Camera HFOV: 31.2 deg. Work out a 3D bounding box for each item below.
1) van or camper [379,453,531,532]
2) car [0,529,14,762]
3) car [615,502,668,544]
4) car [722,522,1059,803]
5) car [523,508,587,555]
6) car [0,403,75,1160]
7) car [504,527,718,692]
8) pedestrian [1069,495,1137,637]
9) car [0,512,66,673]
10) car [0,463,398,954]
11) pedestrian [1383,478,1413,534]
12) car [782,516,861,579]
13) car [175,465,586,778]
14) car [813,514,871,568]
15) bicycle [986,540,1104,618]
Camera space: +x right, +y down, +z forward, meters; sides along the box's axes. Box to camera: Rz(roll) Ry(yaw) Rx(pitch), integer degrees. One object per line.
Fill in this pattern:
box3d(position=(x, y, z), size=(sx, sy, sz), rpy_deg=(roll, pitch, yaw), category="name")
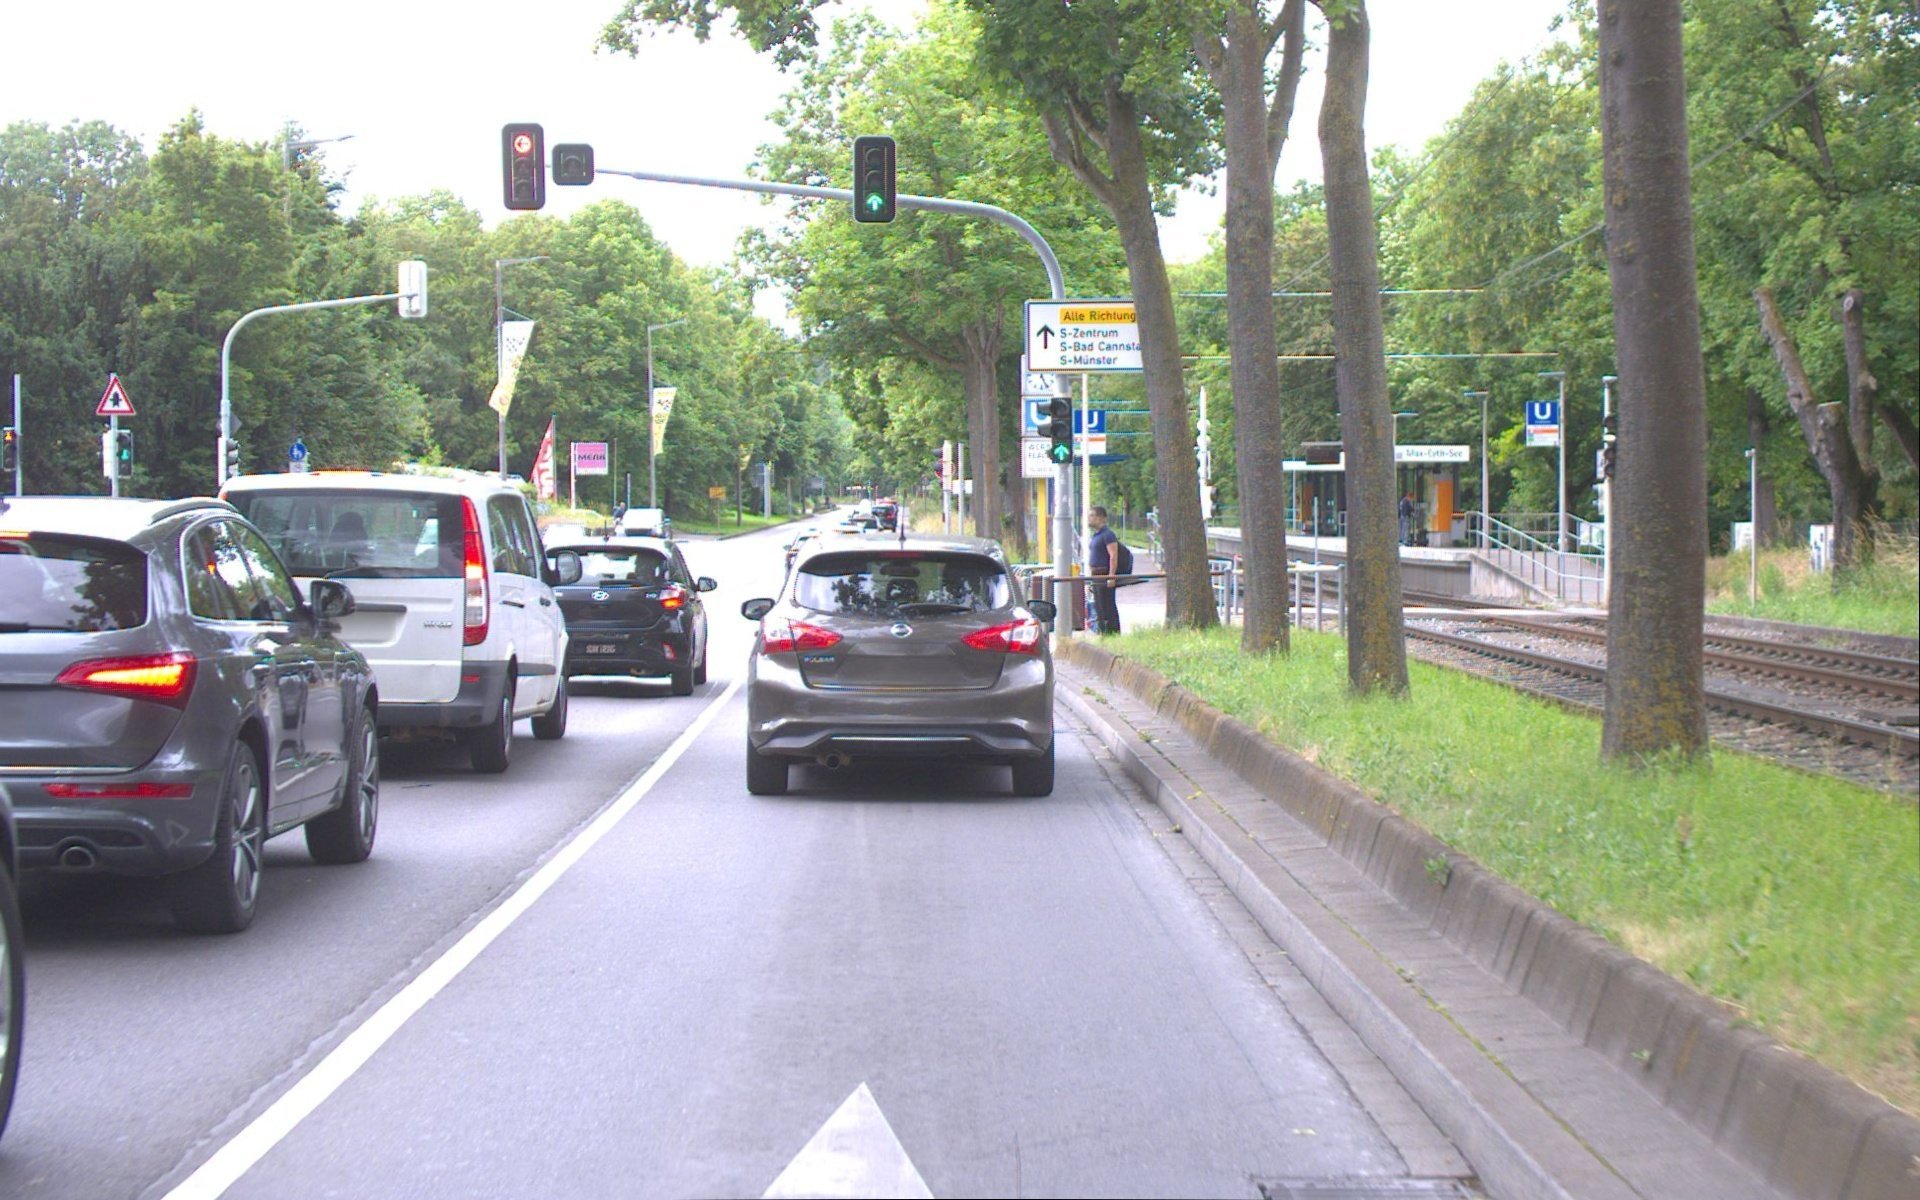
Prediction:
box3d(position=(-25.890, -5.539, 176.455), size=(7.141, 3.359, 2.797), rpy_deg=(5, 2, 0), category="van or camper")
box3d(position=(-6.810, 0.347, 19.995), size=(1.556, 1.461, 3.808), rpy_deg=(-2, 1, -1), category="car")
box3d(position=(-12.958, -3.127, 140.128), size=(1.901, 1.673, 5.081), rpy_deg=(0, 1, -3), category="car")
box3d(position=(-0.350, 0.300, 20.981), size=(1.837, 1.523, 3.929), rpy_deg=(1, 1, 1), category="car")
box3d(position=(-13.331, -2.257, 113.216), size=(1.741, 1.459, 4.343), rpy_deg=(2, 1, -3), category="car")
box3d(position=(-3.146, 0.436, 6.445), size=(1.803, 1.789, 4.503), rpy_deg=(1, 1, 0), category="car")
box3d(position=(-3.273, 0.050, 32.818), size=(1.703, 1.475, 3.668), rpy_deg=(0, 1, -1), category="car")
box3d(position=(1.797, -0.431, 43.131), size=(0.752, 1.731, 0.839), rpy_deg=(-2, 1, 4), category="pedestrian")
box3d(position=(-10.002, -0.105, 33.243), size=(1.739, 1.533, 3.910), rpy_deg=(1, 1, -1), category="car")
box3d(position=(-3.522, 0.346, 14.135), size=(1.751, 1.712, 4.334), rpy_deg=(0, 1, -1), category="car")
box3d(position=(12.040, -2.571, 94.463), size=(0.718, 1.506, 0.724), rpy_deg=(2, 1, 2), category="pedestrian")
box3d(position=(-3.415, -1.315, 85.332), size=(1.710, 1.470, 3.671), rpy_deg=(1, 1, 1), category="car")
box3d(position=(-3.710, 0.070, 22.959), size=(1.907, 1.837, 5.282), rpy_deg=(0, 1, -1), category="car")
box3d(position=(-3.514, -1.771, 102.740), size=(1.503, 1.523, 3.671), rpy_deg=(1, 1, 1), category="car")
box3d(position=(1.272, -0.315, 51.615), size=(1.674, 1.086, 0.602), rpy_deg=(-3, 1, -4), category="bicycle")
